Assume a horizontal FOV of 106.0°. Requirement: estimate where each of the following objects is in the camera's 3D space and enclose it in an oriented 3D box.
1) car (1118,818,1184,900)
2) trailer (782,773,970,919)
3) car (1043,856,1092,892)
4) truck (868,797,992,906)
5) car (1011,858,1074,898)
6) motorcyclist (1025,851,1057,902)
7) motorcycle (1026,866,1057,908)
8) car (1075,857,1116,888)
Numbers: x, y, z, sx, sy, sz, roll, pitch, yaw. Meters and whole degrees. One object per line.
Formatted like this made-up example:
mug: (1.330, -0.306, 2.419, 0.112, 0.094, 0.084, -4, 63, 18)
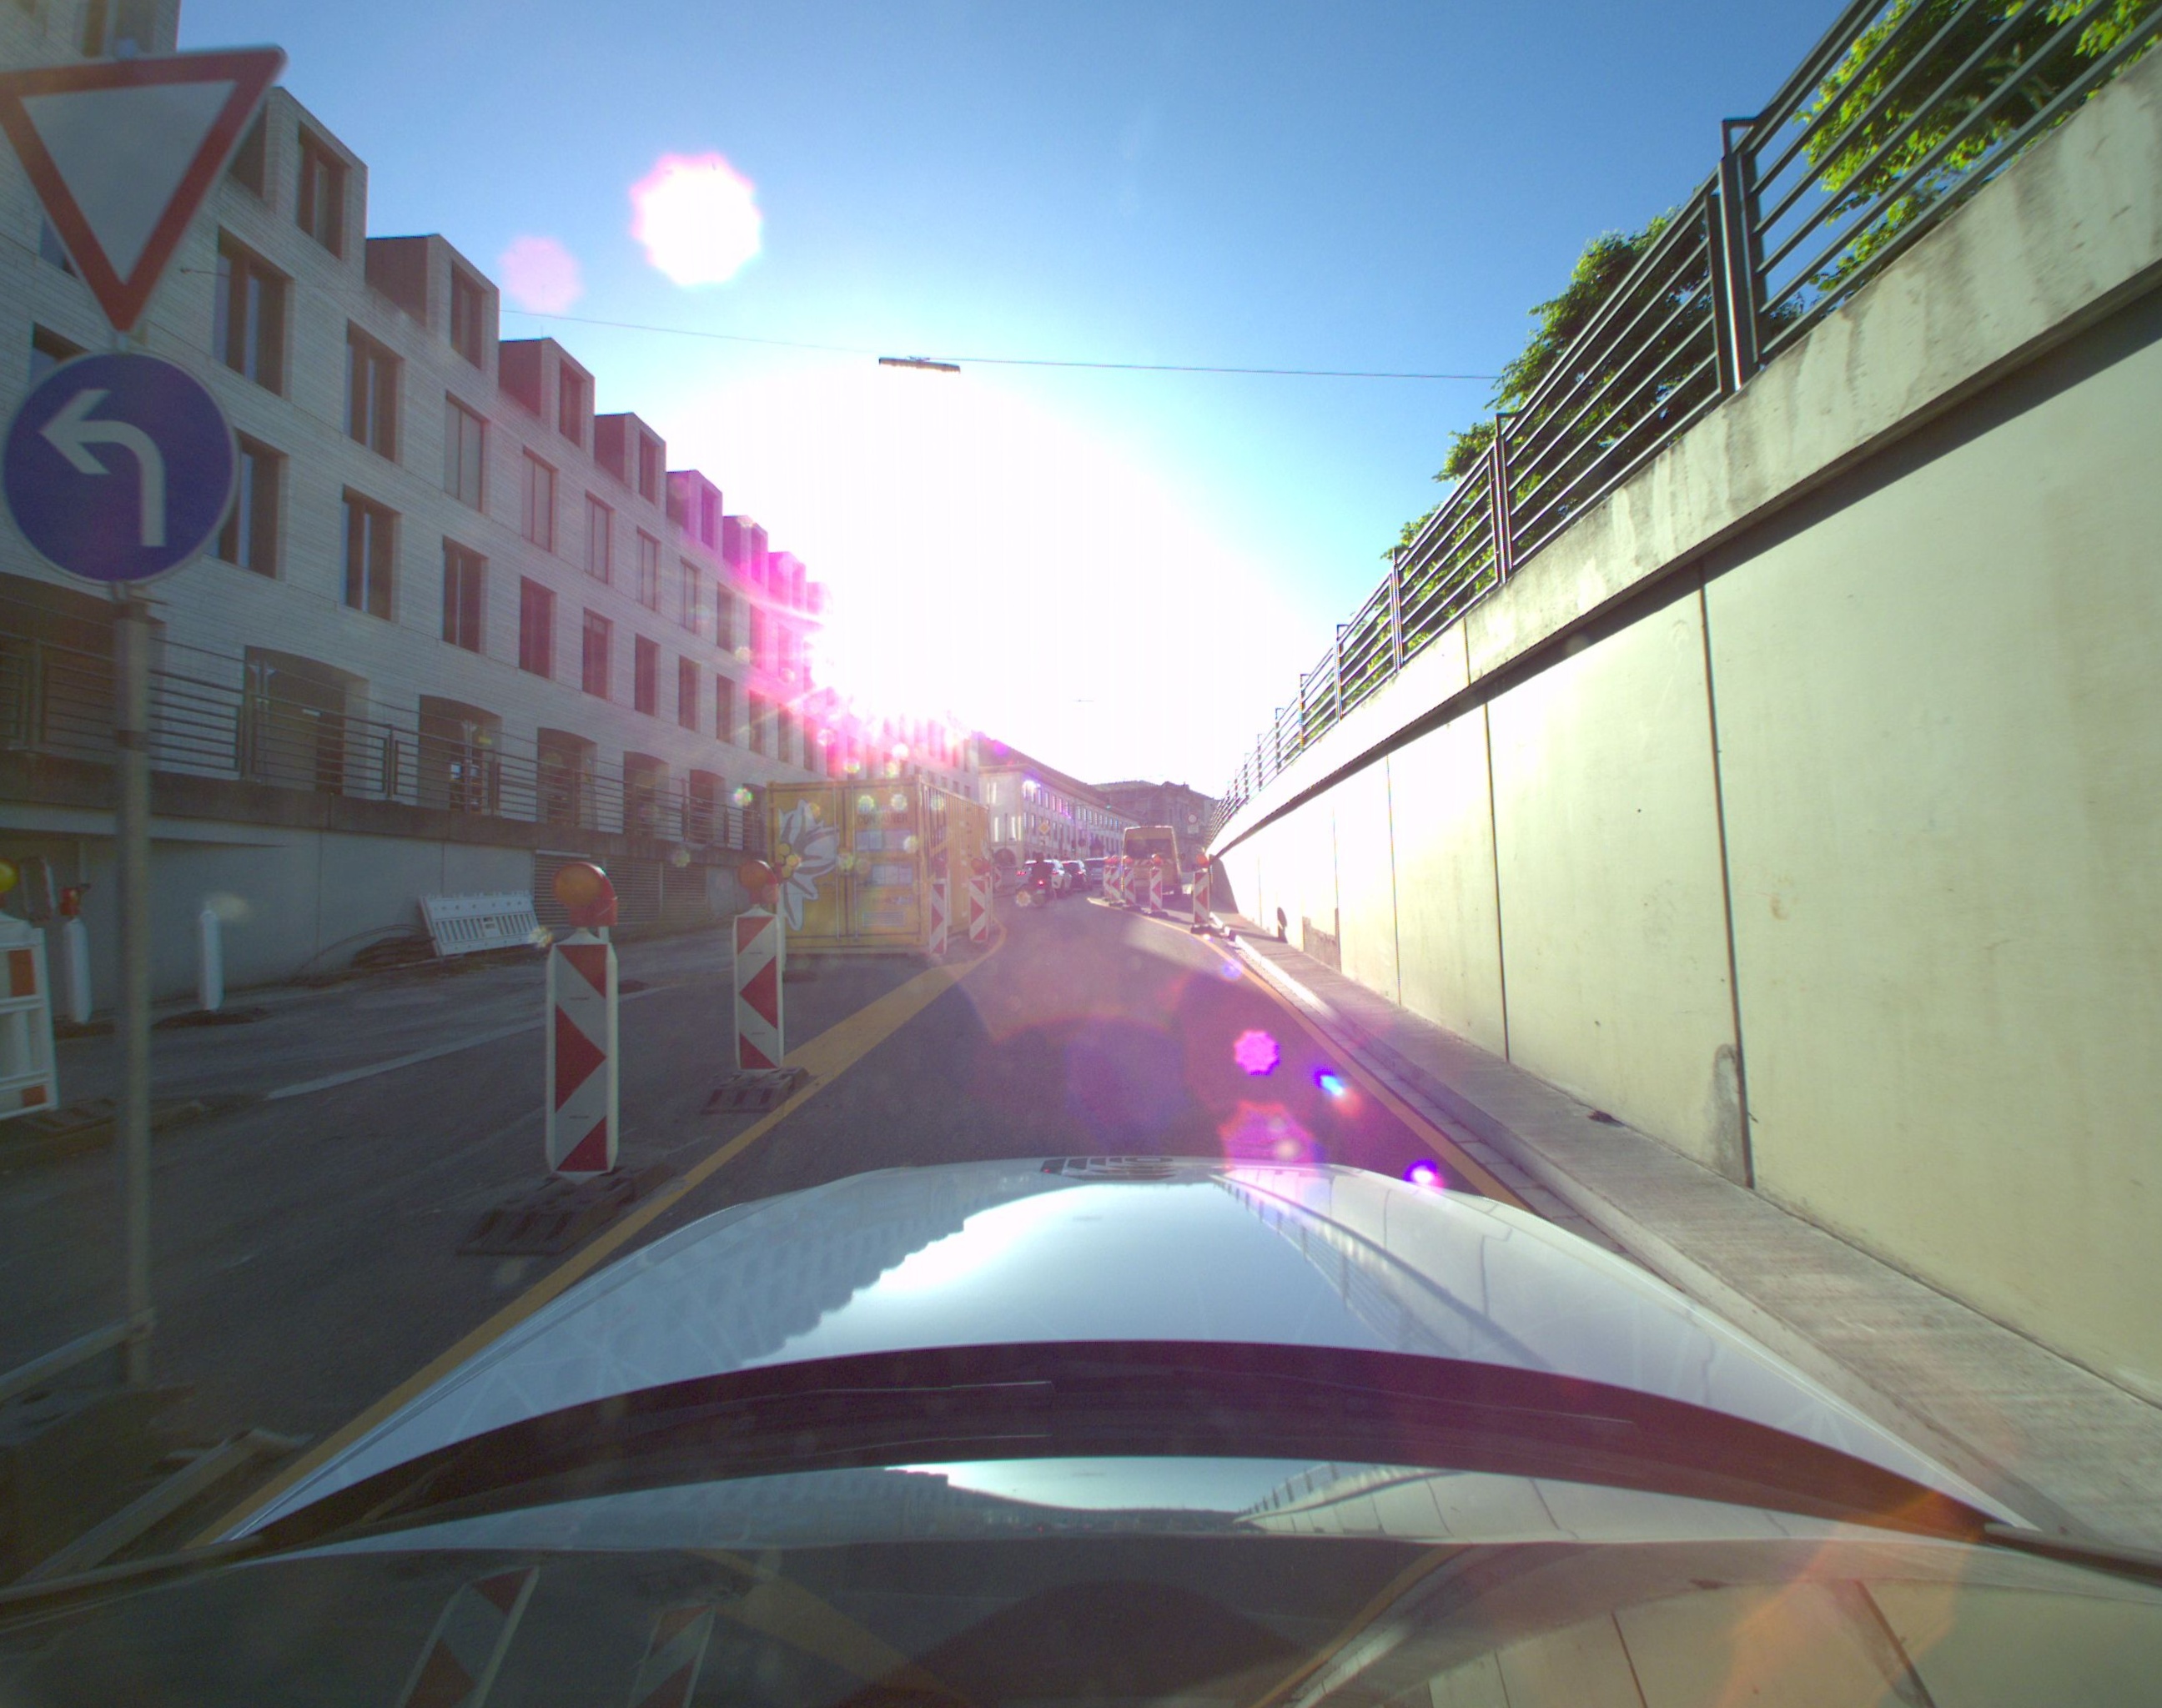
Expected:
car: (2.659, 0.212, 30.370, 2.101, 2.625, 6.998, -2, -1, 6)
trailer: (-6.116, -0.163, 26.170, 2.629, 3.669, 8.763, -6, -1, 6)
car: (-0.572, 0.990, 38.507, 1.765, 1.550, 4.112, -2, -3, 6)
truck: (-5.469, -0.055, 30.542, 2.565, 3.489, 5.828, -6, -1, 8)
car: (-1.444, 0.947, 32.184, 1.849, 1.472, 4.007, -1, -1, 6)
motorcyclist: (-1.239, 0.686, 25.537, 0.952, 1.559, 1.238, -1, 0, -3)
motorcycle: (-1.231, 1.014, 25.569, 0.903, 1.183, 2.576, -1, 0, -3)
car: (0.909, 1.094, 48.671, 1.792, 1.721, 4.174, -2, 0, 9)
